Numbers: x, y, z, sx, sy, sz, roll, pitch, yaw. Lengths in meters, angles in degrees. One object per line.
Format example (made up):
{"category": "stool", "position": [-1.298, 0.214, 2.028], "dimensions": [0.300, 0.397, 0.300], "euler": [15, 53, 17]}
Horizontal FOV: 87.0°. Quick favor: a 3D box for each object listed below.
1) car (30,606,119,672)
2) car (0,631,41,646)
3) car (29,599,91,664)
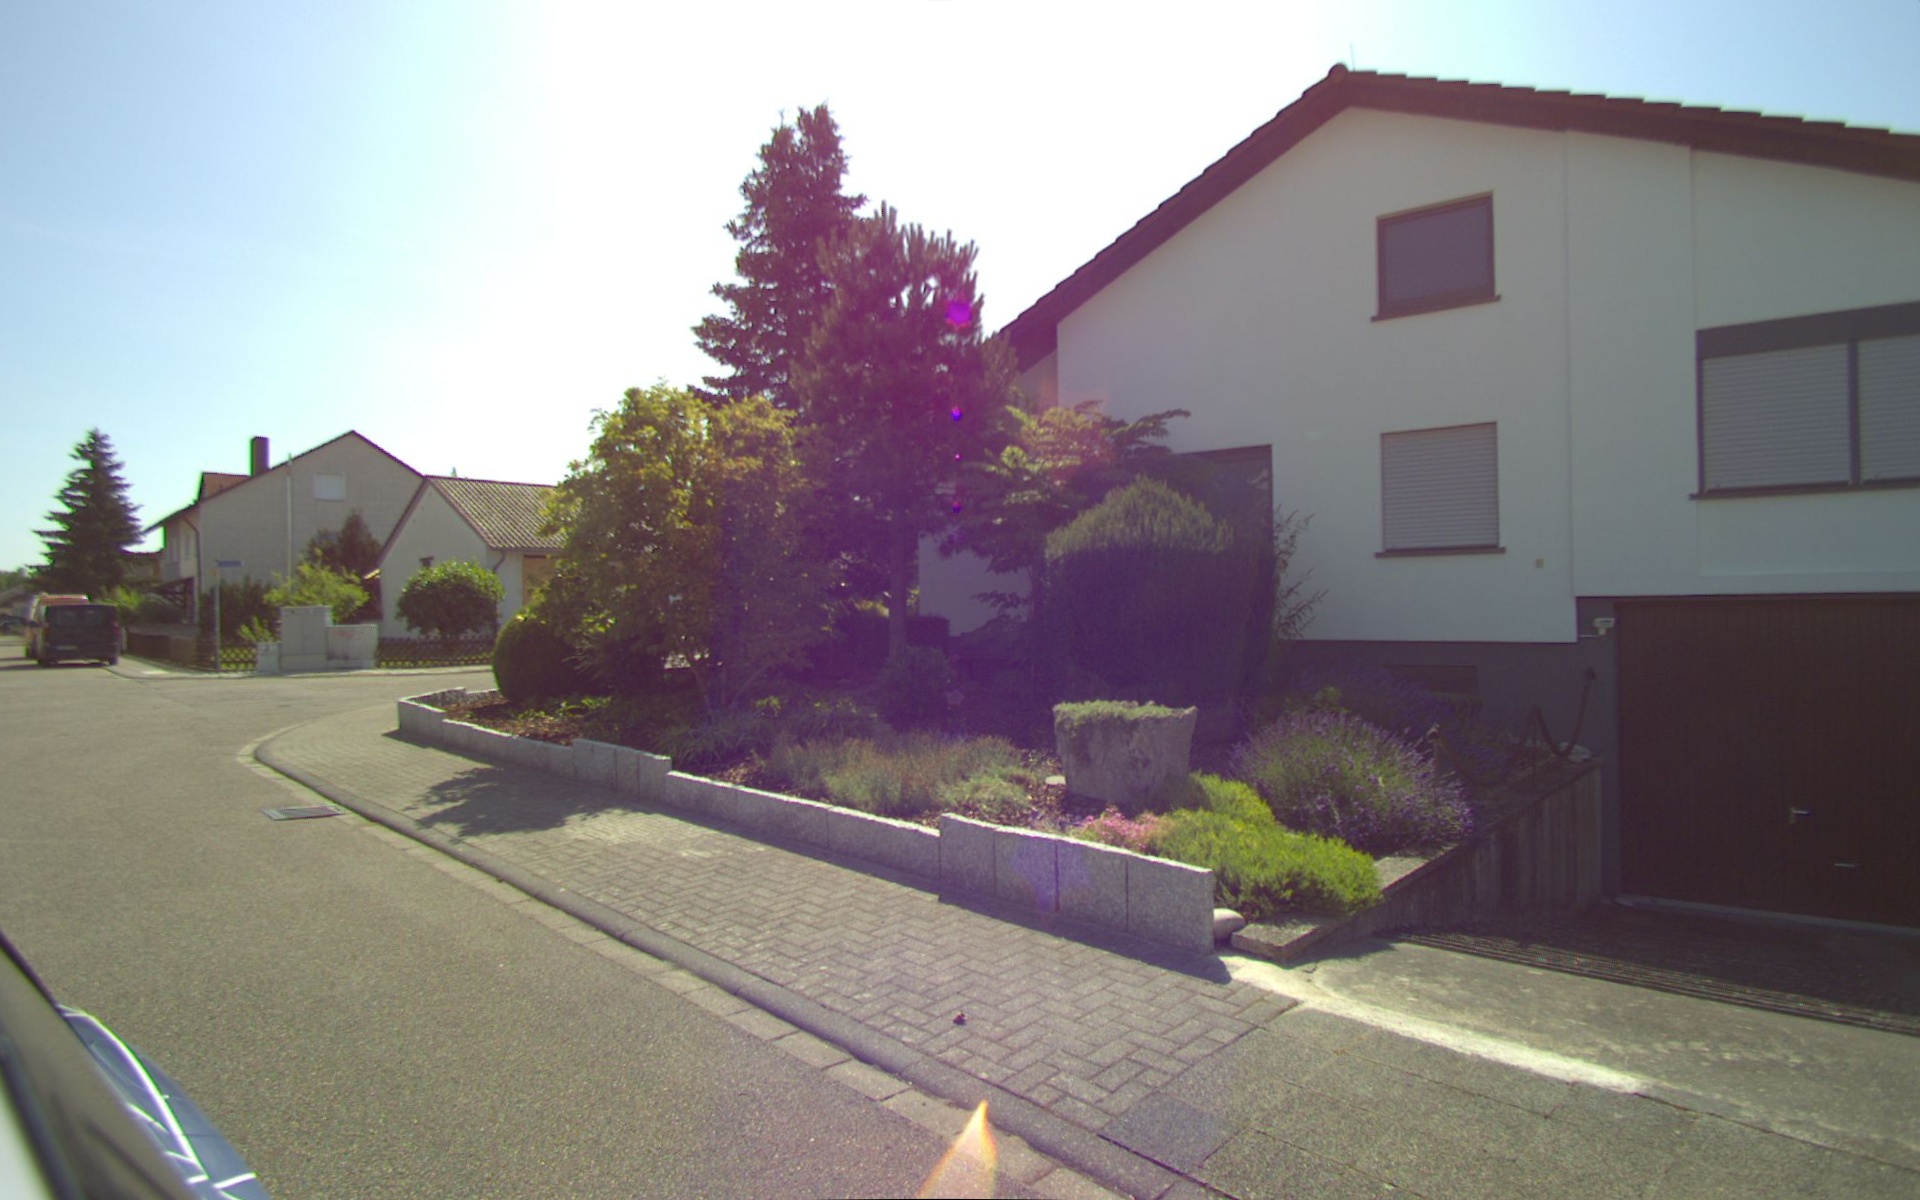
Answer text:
{"category": "car", "position": [-28.422, 1.211, 32.434], "dimensions": [4.206, 1.953, 1.844], "euler": [-2, 0, 45]}
{"category": "car", "position": [-106.125, 4.311, 114.232], "dimensions": [1.636, 1.541, 3.371], "euler": [-1, 0, 39]}
{"category": "car", "position": [-34.895, 1.195, 39.206], "dimensions": [4.206, 2.341, 1.534], "euler": [-2, 0, 45]}
